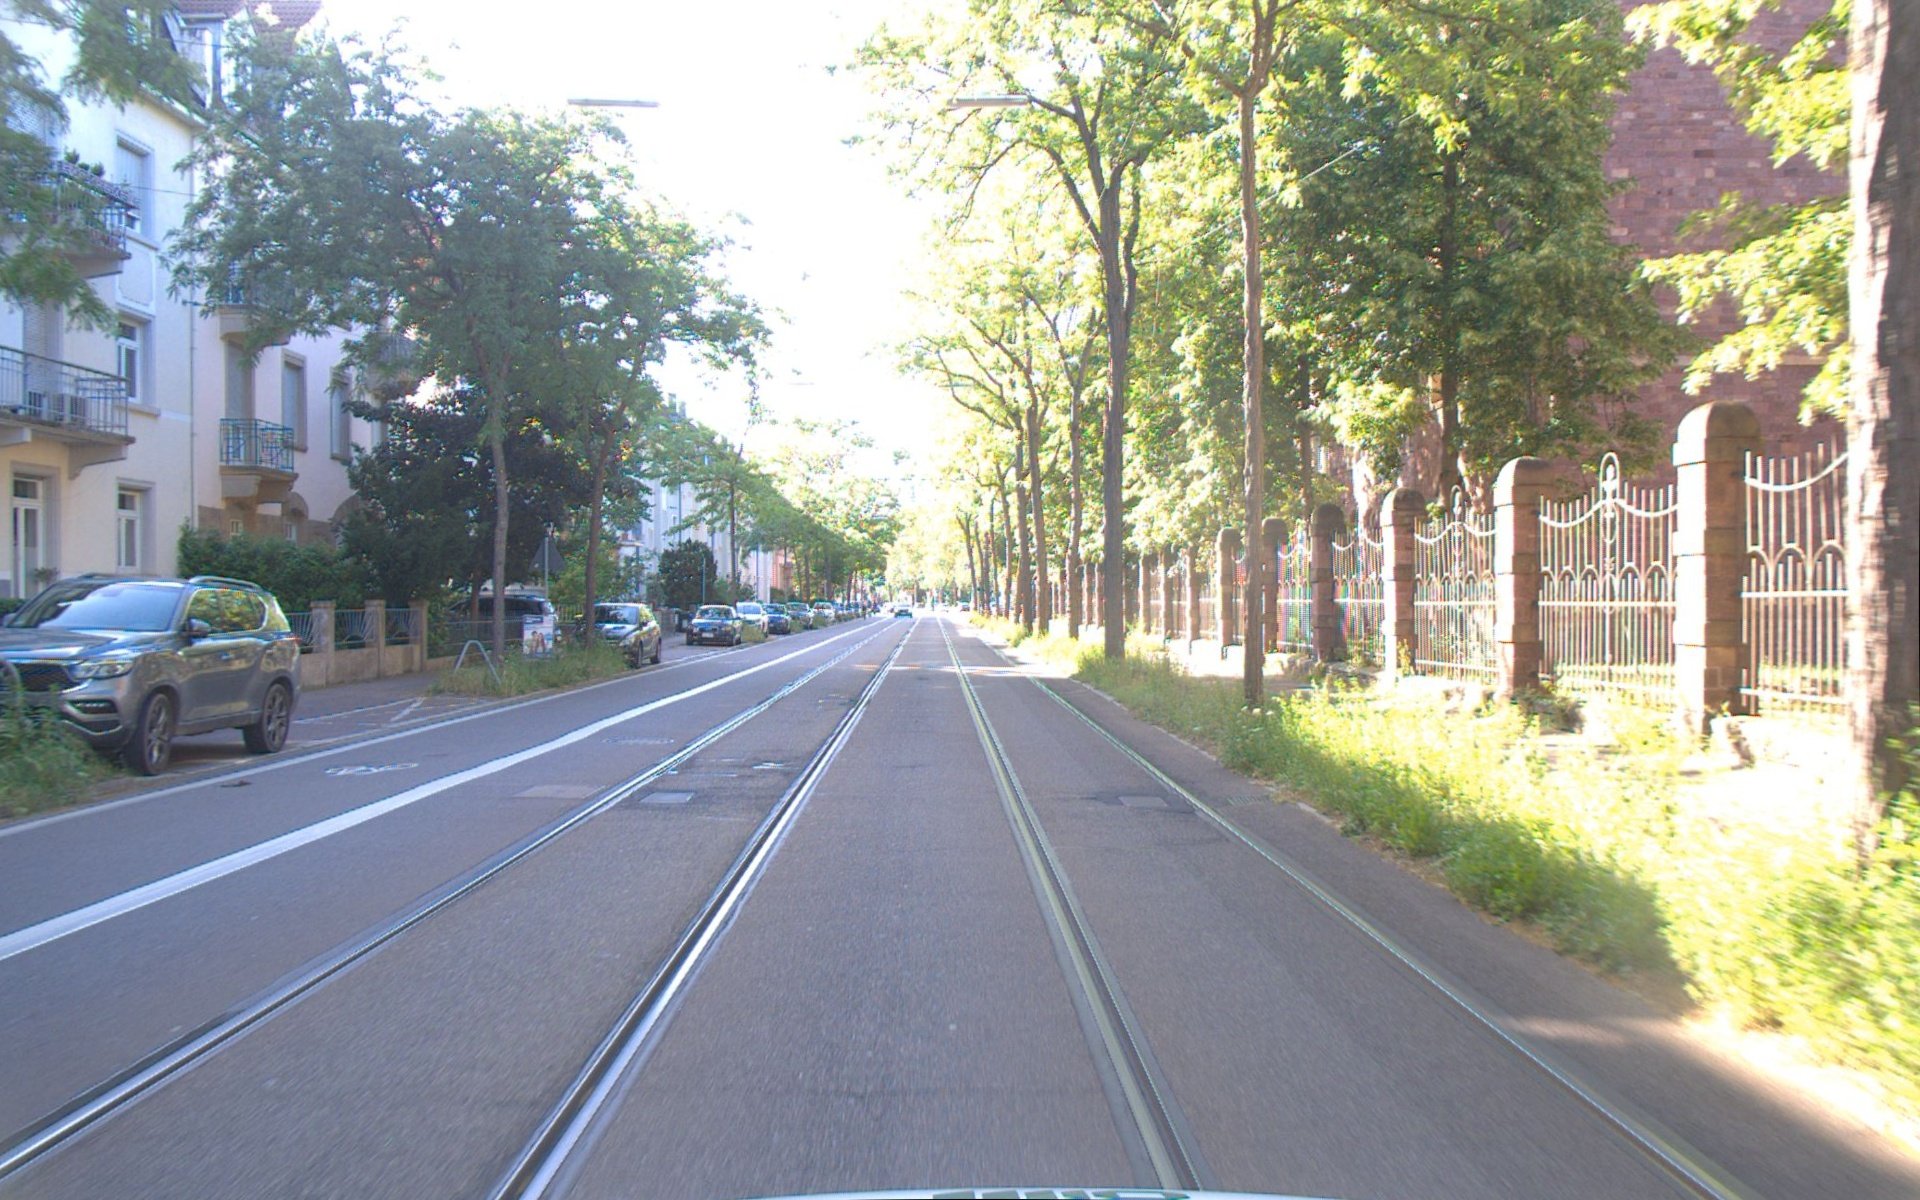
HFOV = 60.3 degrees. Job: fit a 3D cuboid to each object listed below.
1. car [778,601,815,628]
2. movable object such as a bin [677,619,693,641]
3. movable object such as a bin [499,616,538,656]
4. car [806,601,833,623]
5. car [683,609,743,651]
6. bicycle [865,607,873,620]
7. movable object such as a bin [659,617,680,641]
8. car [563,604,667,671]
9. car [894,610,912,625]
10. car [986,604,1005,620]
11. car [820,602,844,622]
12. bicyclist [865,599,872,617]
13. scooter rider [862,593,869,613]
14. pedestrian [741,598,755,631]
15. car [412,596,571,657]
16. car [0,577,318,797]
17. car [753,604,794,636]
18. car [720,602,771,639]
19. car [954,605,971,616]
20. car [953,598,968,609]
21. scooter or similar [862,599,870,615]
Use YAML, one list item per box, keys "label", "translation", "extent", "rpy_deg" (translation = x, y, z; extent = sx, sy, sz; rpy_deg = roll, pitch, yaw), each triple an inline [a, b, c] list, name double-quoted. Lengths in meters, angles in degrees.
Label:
- label: "car"
  translation: [-9.450, 0.839, 96.011]
  extent: [1.780, 1.511, 4.205]
  rpy_deg: [1, 0, -1]
- label: "movable object such as a bin"
  translation: [-12.719, 1.384, 76.430]
  extent: [0.548, 0.993, 0.733]
  rpy_deg: [2, 0, 2]
- label: "movable object such as a bin"
  translation: [-12.186, 0.992, 45.649]
  extent: [0.857, 1.084, 0.814]
  rpy_deg: [0, 0, -1]
- label: "car"
  translation: [-10.383, 0.901, 122.091]
  extent: [1.668, 1.511, 4.078]
  rpy_deg: [2, 0, -1]
- label: "car"
  translation: [-9.050, 1.091, 60.905]
  extent: [1.671, 1.431, 4.332]
  rpy_deg: [1, 0, -2]
- label: "bicycle"
  translation: [-8.727, 1.250, 158.437]
  extent: [0.614, 1.198, 1.912]
  rpy_deg: [-3, 0, -1]
- label: "movable object such as a bin"
  translation: [-13.424, 1.325, 76.428]
  extent: [0.827, 1.064, 0.733]
  rpy_deg: [2, 0, 2]
- label: "car"
  translation: [-8.657, 0.906, 41.883]
  extent: [1.740, 1.568, 4.484]
  rpy_deg: [1, 0, -1]
- label: "car"
  translation: [-5.607, 1.707, 161.921]
  extent: [1.722, 1.464, 4.521]
  rpy_deg: [0, 0, -2]
- label: "car"
  translation: [3.842, 1.299, 179.440]
  extent: [1.802, 1.684, 3.577]
  rpy_deg: [0, 0, -3]
- label: "car"
  translation: [-10.065, 0.912, 130.171]
  extent: [1.653, 1.511, 3.758]
  rpy_deg: [2, 0, -2]
- label: "bicyclist"
  translation: [-8.749, 0.780, 158.406]
  extent: [0.613, 1.667, 0.940]
  rpy_deg: [-3, 0, -1]
- label: "scooter rider"
  translation: [-8.241, 0.230, 144.777]
  extent: [0.486, 1.729, 0.786]
  rpy_deg: [-3, 0, -1]
- label: "pedestrian"
  translation: [-11.888, 0.787, 92.773]
  extent: [0.677, 1.833, 0.813]
  rpy_deg: [-1, 0, -1]
- label: "car"
  translation: [-13.628, 0.755, 48.266]
  extent: [4.082, 1.688, 1.982]
  rpy_deg: [1, 0, -3]
- label: "car"
  translation: [-8.093, 0.731, 16.348]
  extent: [1.833, 1.855, 4.769]
  rpy_deg: [1, 0, -3]
- label: "car"
  translation: [-9.318, 0.976, 82.936]
  extent: [1.722, 1.537, 4.437]
  rpy_deg: [1, 0, -2]
- label: "car"
  translation: [-9.386, 0.873, 72.566]
  extent: [1.780, 1.537, 4.369]
  rpy_deg: [1, 0, -2]
- label: "car"
  translation: [0.344, 1.460, 232.167]
  extent: [1.905, 1.638, 3.994]
  rpy_deg: [0, 0, -6]
- label: "car"
  translation: [0.061, 0.536, 245.011]
  extent: [1.905, 1.638, 3.995]
  rpy_deg: [0, 0, -6]
- label: "scooter or similar"
  translation: [-8.223, 0.619, 144.769]
  extent: [0.510, 1.320, 1.377]
  rpy_deg: [-3, 0, -1]
